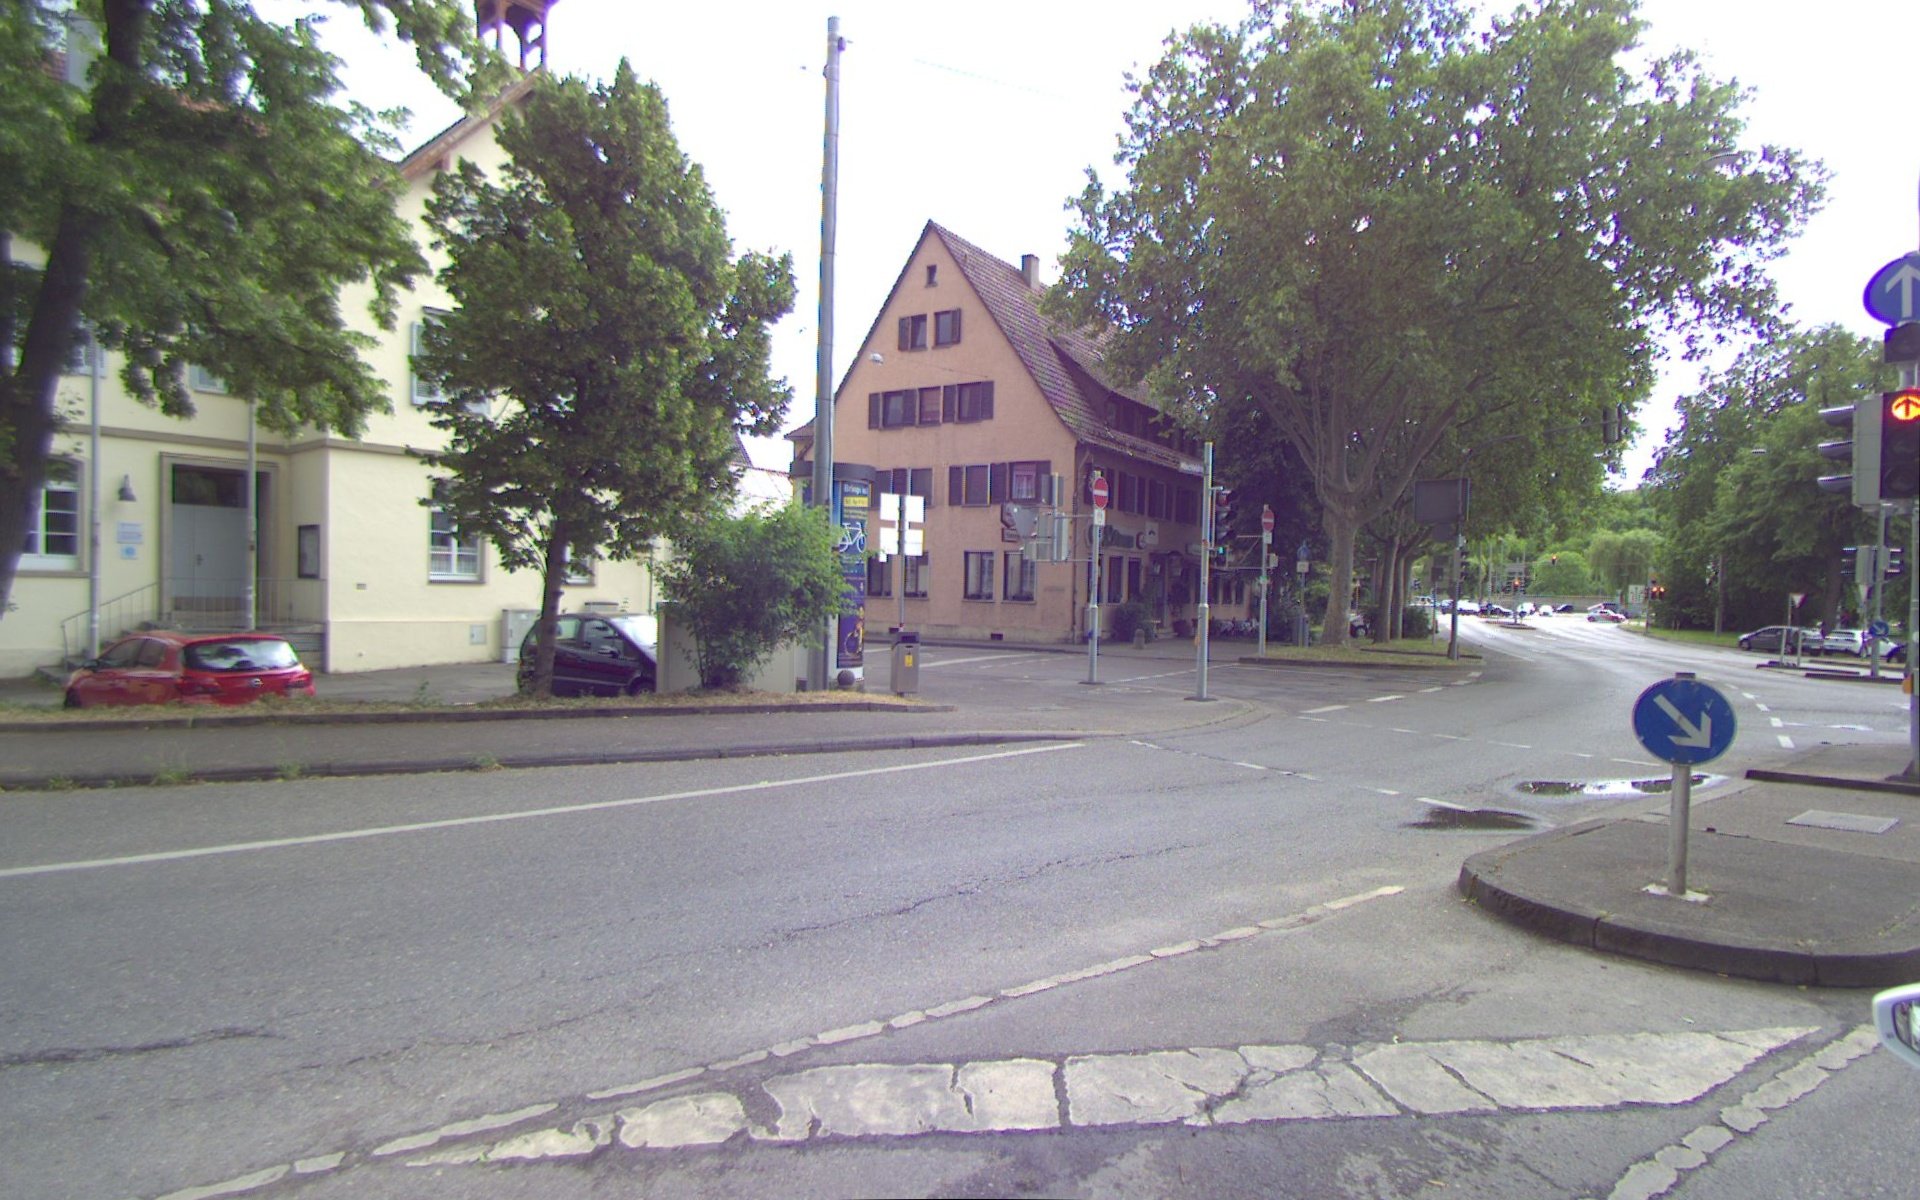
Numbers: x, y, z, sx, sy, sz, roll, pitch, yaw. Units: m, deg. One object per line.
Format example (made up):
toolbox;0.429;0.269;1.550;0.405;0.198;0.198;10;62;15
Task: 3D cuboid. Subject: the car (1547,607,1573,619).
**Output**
car;108.225;2.313;181.098;3.928;2.040;1.996;2;0;30

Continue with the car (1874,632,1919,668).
car;39.569;2.075;40.949;1.442;1.412;3.596;2;0;3

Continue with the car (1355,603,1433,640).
car;21.408;1.045;49.587;3.387;1.663;1.570;2;0;28

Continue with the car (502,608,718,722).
car;-5.763;1.004;16.597;3.035;1.654;1.607;2;0;22

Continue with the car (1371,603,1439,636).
car;25.469;1.084;57.472;3.387;1.765;1.570;2;0;28

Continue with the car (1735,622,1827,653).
car;43.863;1.966;53.765;1.559;1.484;3.543;2;0;-17

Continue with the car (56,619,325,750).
car;-10.174;1.011;13.249;3.492;1.397;1.605;2;0;30

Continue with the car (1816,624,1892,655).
car;47.302;2.079;53.166;3.342;1.484;1.543;2;0;-19

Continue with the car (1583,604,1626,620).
car;76.635;1.411;119.456;1.986;1.806;3.950;2;0;-42

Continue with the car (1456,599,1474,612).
car;57.480;0.629;114.310;1.404;1.435;2.872;1;-1;19
